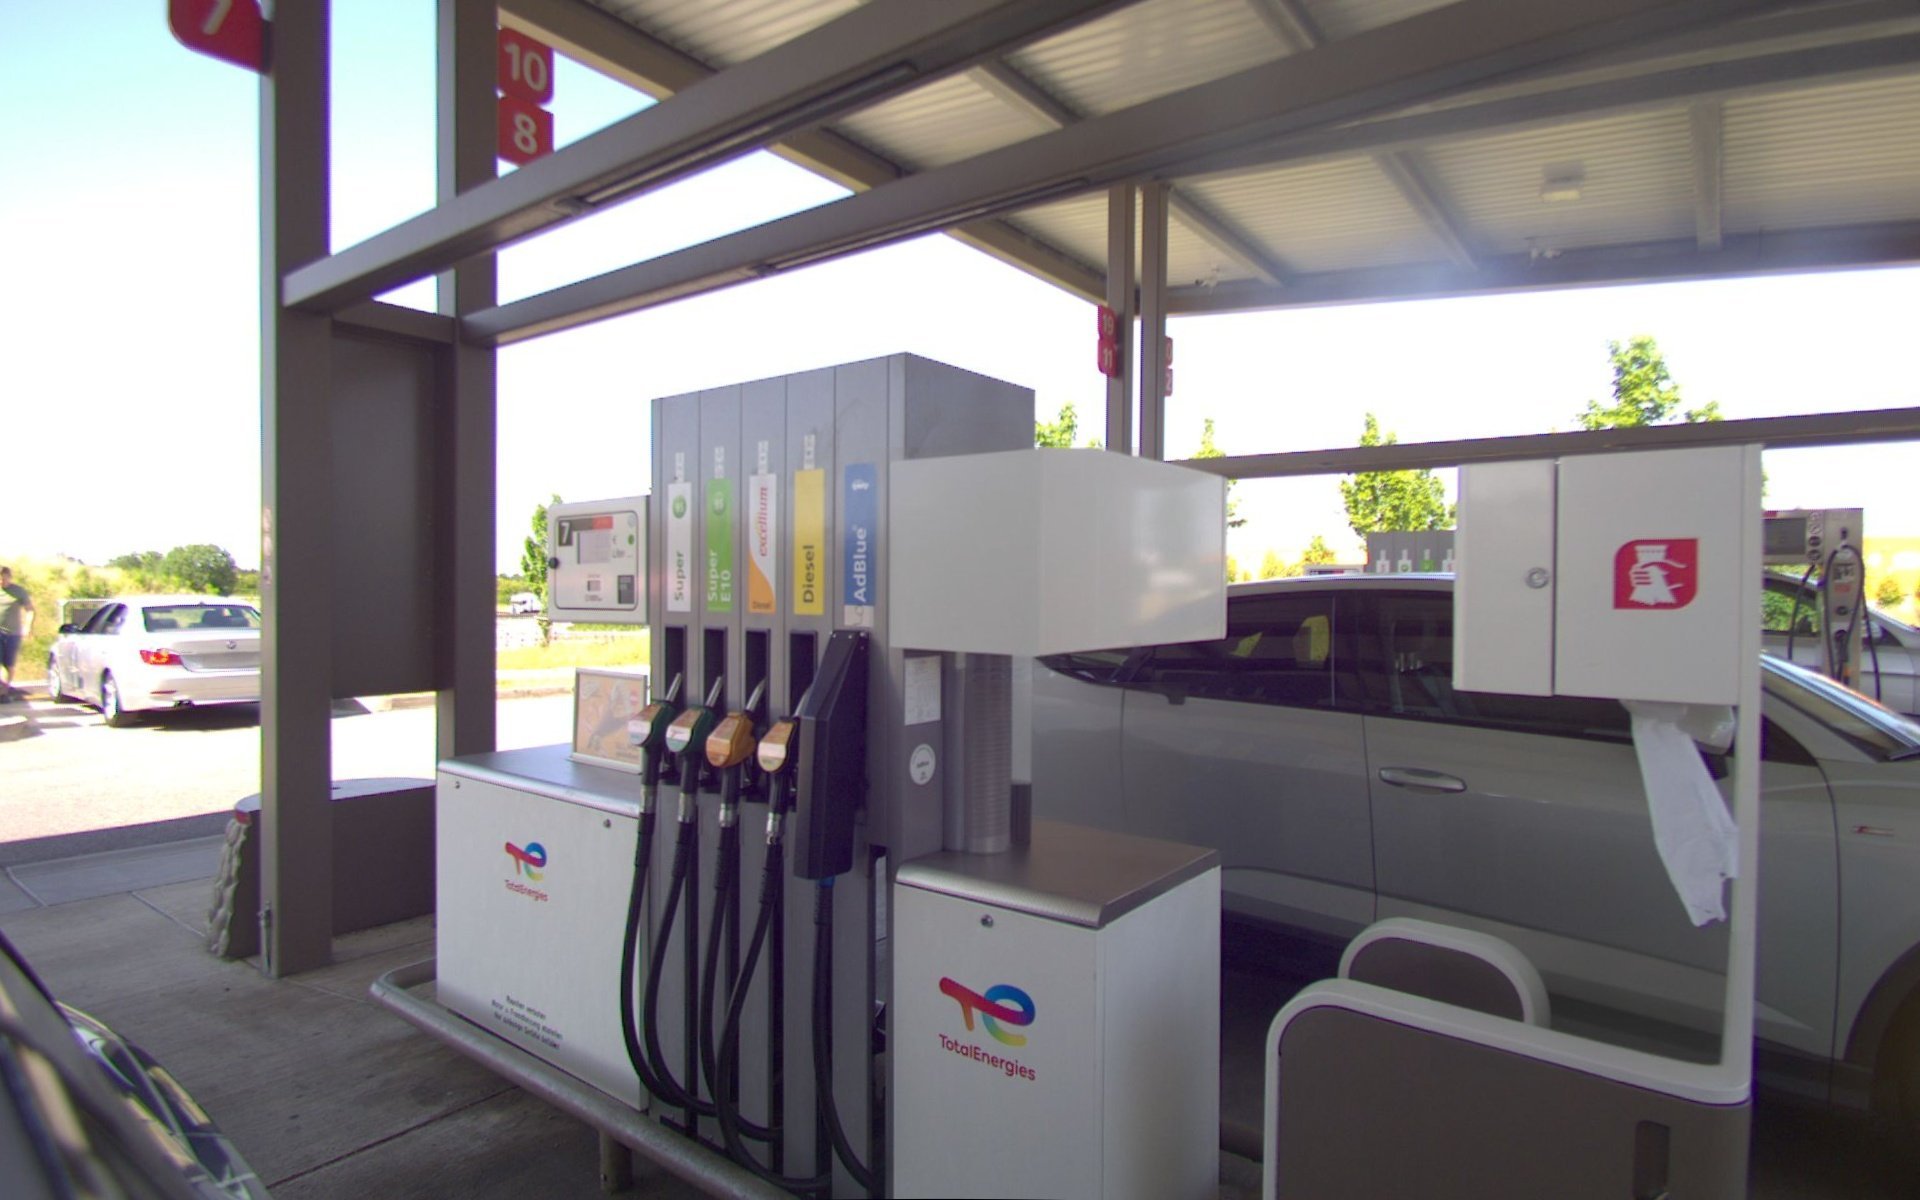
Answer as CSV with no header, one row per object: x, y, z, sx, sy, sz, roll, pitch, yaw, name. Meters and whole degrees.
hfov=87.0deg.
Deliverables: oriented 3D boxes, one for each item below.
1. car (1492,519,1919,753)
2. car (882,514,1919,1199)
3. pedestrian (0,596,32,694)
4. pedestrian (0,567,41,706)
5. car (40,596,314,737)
7.075,0.265,8.426,4.524,1.700,1.844,0,0,34,car
1.918,0.594,3.408,4.320,1.553,1.763,0,0,38,car
-13.219,0.611,13.826,0.568,1.316,0.671,0,0,-19,pedestrian
-12.422,0.461,13.087,0.844,1.762,0.700,0,0,40,pedestrian
-9.923,0.693,12.710,4.317,1.439,1.770,1,1,39,car
